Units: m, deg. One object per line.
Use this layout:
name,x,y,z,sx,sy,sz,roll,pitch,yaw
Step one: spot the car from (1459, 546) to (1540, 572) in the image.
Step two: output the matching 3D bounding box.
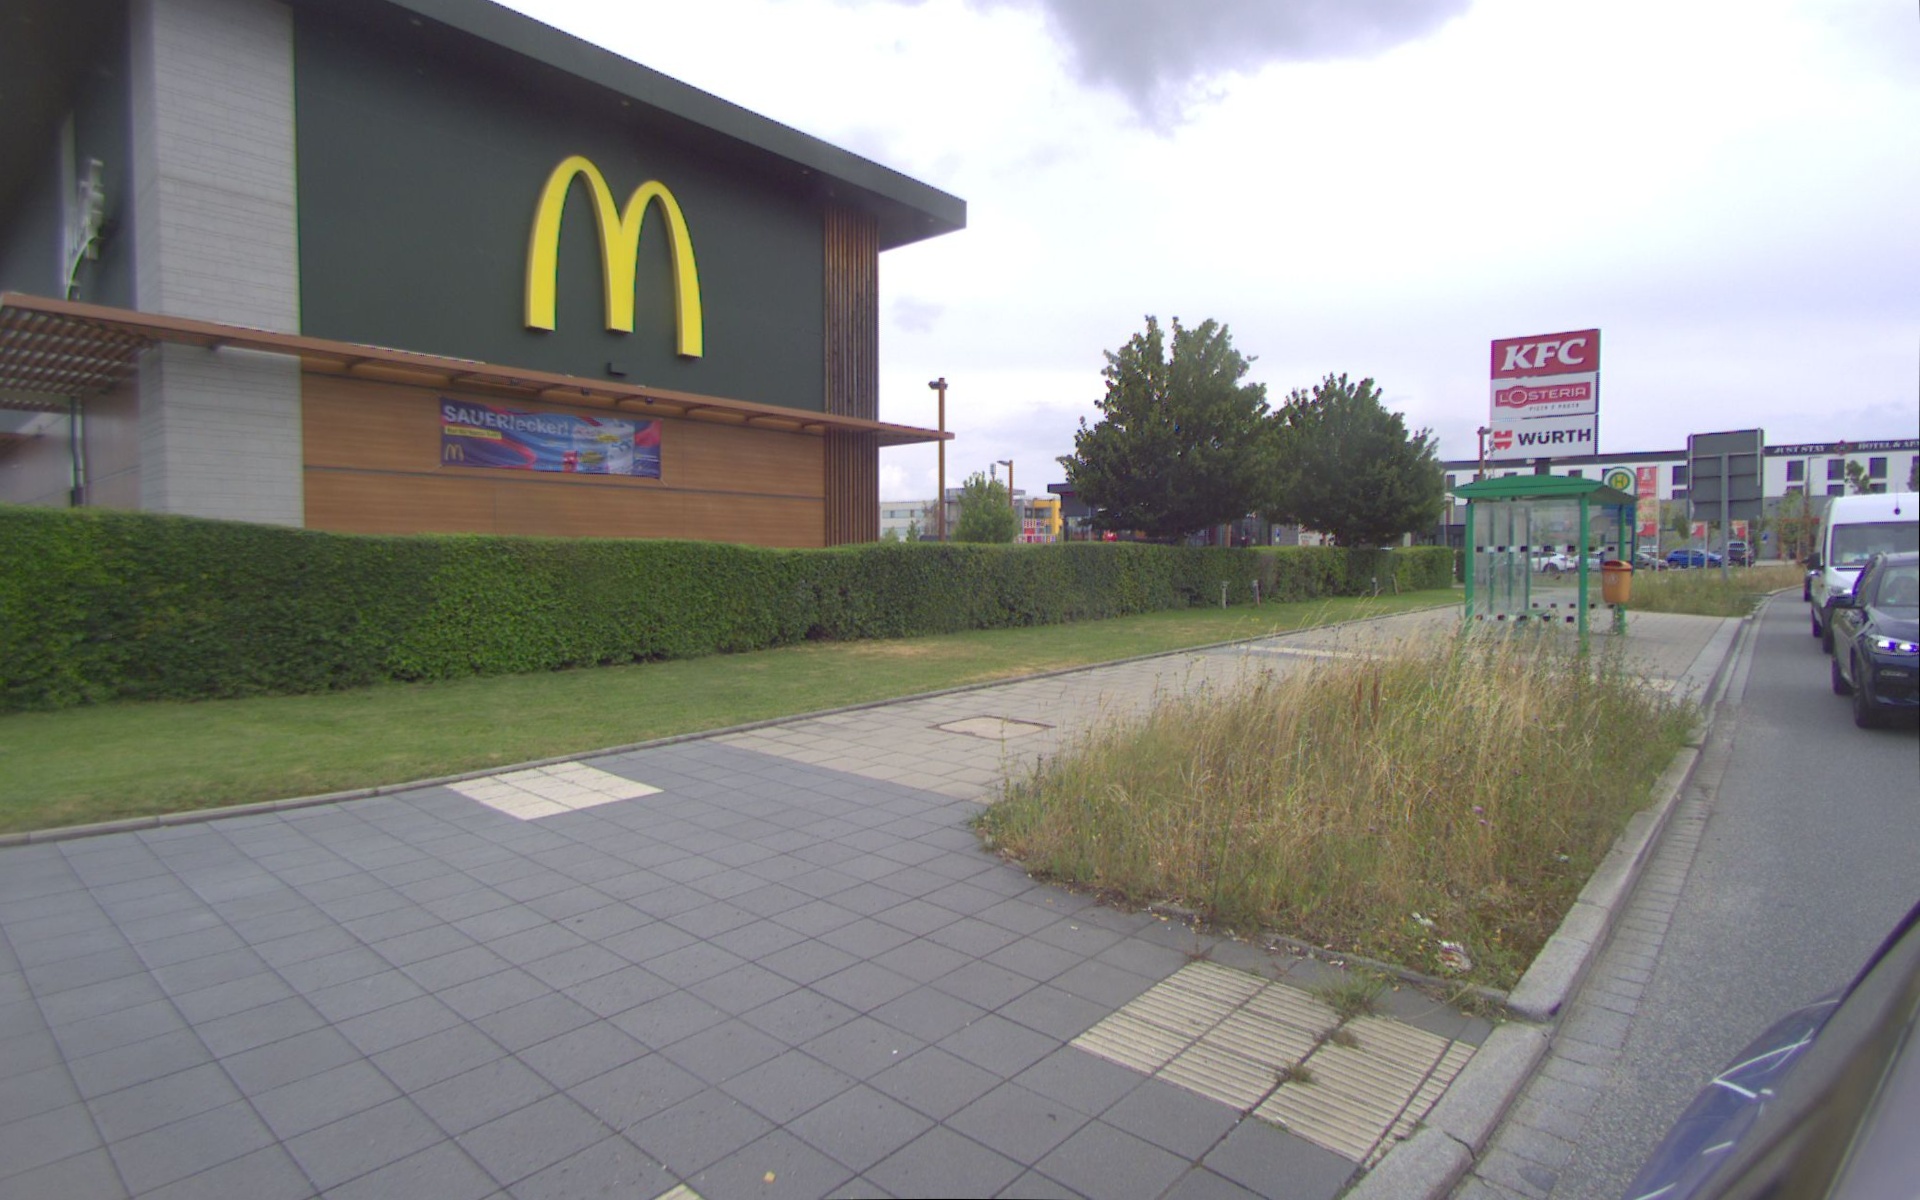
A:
car,32.875,-2.485,61.755,1.815,1.504,3.994,-2,3,-41

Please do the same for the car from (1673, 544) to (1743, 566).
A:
car,58.409,-3.519,79.064,1.812,1.504,4.002,-3,2,-32

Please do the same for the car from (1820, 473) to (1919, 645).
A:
car,16.196,-0.730,17.367,2.018,2.558,6.020,1,3,39

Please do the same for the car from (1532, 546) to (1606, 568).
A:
car,41.784,-2.936,69.520,1.816,1.504,3.994,-2,3,-41

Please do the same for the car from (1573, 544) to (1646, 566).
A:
car,45.992,-3.182,71.728,1.813,1.504,3.999,-2,3,-37

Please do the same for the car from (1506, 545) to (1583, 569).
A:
car,38.012,-2.801,65.903,1.815,1.541,3.994,-2,3,-41

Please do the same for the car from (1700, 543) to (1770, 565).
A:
car,60.943,-3.604,79.639,1.812,1.504,4.002,-3,2,-32

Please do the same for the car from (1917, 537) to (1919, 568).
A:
car,51.300,-2.548,52.445,3.930,1.593,1.998,-4,2,-39

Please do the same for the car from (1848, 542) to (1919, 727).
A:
car,10.133,0.239,10.010,1.860,1.627,3.944,1,3,39

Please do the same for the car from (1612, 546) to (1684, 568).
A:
car,50.346,-3.138,74.070,1.813,1.504,3.999,-2,3,-37
